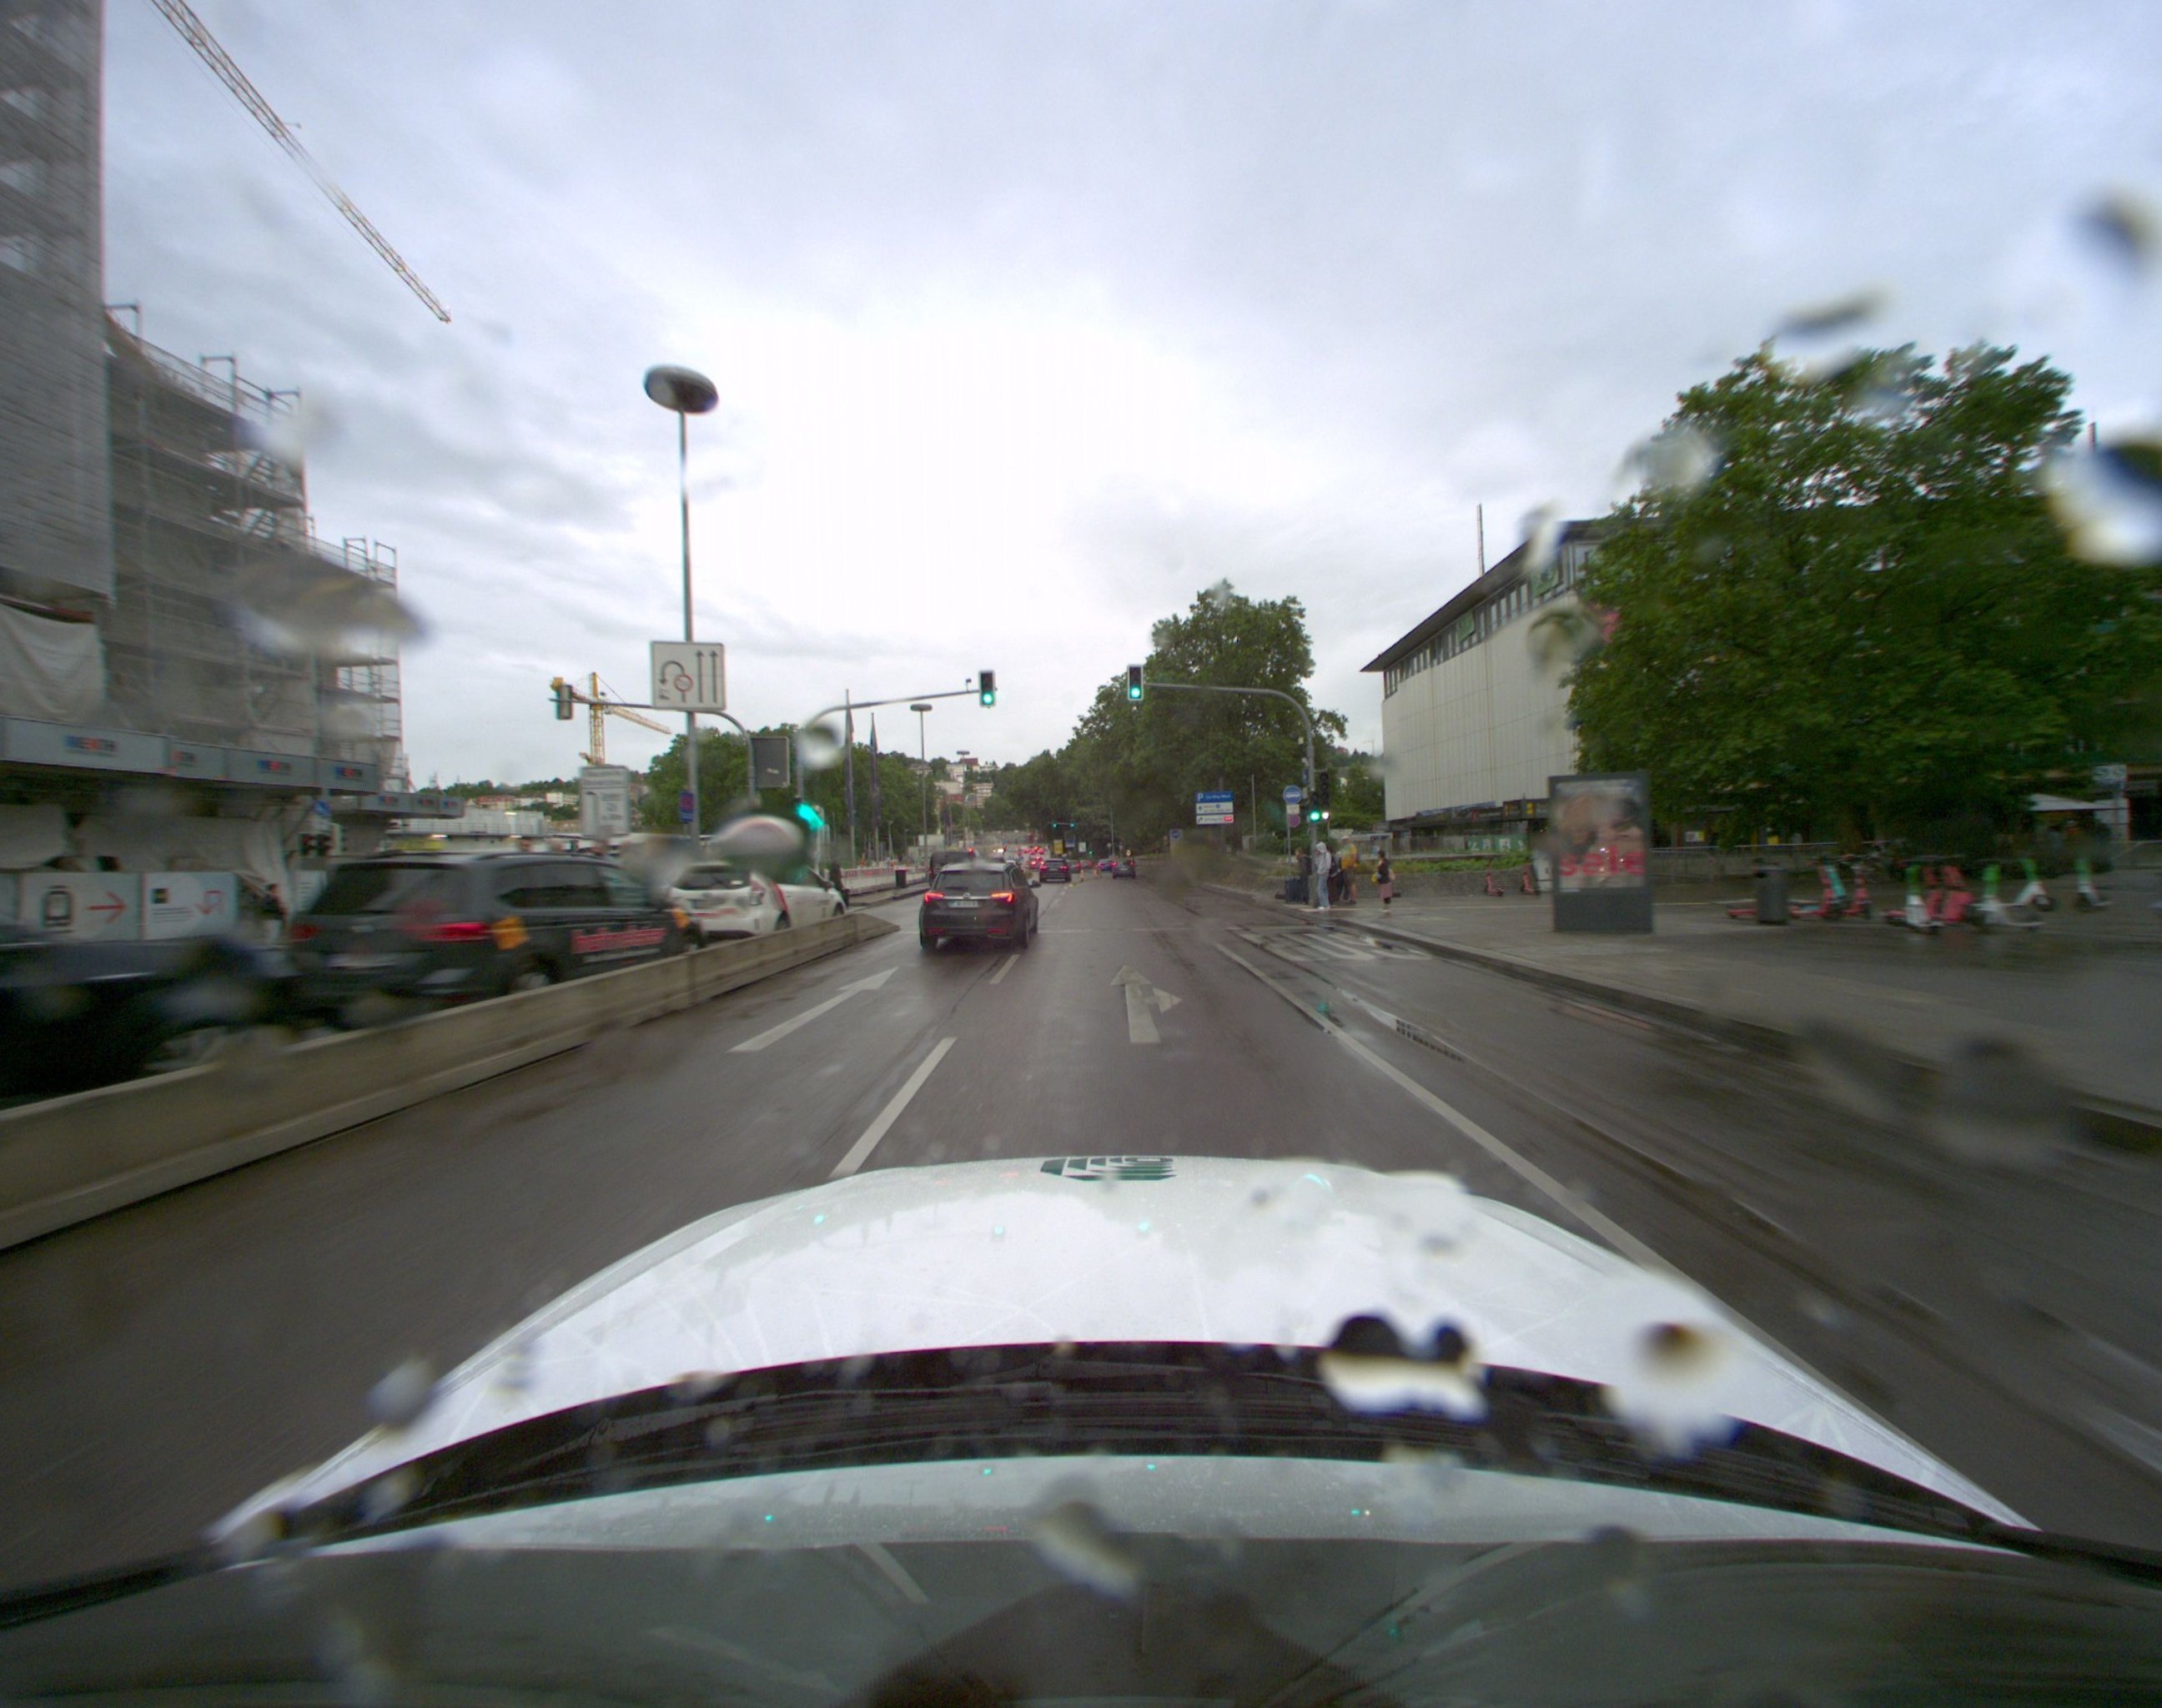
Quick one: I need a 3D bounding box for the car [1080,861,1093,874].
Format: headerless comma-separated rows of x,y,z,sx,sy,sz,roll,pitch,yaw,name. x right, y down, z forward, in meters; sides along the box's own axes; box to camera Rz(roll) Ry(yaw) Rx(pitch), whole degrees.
0.713,1.836,111.185,1.630,1.624,3.791,0,-1,-3,car

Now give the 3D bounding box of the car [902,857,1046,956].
-1.772,0.848,15.144,1.870,1.508,4.853,-1,-1,2,car

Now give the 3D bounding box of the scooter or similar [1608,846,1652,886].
18.610,0.415,27.627,0.409,1.332,1.311,0,-1,-10,scooter or similar

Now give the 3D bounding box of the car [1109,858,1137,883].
3.047,1.192,59.632,1.845,1.717,4.000,0,-1,0,car

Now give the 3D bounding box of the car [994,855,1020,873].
-6.651,0.900,73.662,1.988,1.530,4.149,-3,-1,-2,car

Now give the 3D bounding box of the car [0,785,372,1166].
-6.089,0.596,3.345,1.986,1.787,4.849,-2,-1,1,car

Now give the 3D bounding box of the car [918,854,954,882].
-10.861,1.070,61.423,1.989,2.014,5.364,0,-1,-3,car

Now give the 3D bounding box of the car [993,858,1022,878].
-6.109,1.168,68.173,1.988,1.567,4.872,-3,-1,-2,car

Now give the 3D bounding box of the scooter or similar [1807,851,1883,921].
14.550,0.591,15.542,0.367,1.281,1.174,-1,-1,3,scooter or similar

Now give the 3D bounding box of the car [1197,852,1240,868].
12.838,0.570,76.050,3.573,1.506,1.745,-1,-1,41,car

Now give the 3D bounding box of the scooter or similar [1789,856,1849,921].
14.057,0.647,15.533,0.304,1.207,0.958,-1,-1,3,scooter or similar

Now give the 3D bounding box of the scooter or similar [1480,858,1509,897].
13.160,0.730,25.928,0.350,1.217,1.158,0,-1,1,scooter or similar

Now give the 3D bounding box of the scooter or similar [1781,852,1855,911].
15.714,0.586,17.381,1.084,1.217,0.479,-1,-1,33,scooter or similar

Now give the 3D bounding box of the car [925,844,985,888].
-5.590,0.557,36.719,1.988,1.845,5.059,0,-1,-2,car

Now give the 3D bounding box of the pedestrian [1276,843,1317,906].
6.517,0.610,24.669,0.787,1.839,0.946,-2,-1,-12,pedestrian

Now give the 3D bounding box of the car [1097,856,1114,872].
2.576,1.064,85.005,1.668,1.581,3.241,-1,-1,2,car

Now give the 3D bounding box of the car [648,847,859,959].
-5.738,0.790,14.993,1.779,1.685,4.669,-2,-1,2,car

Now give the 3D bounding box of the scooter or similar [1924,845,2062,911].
18.463,0.483,16.536,0.622,1.260,1.737,0,-1,-25,scooter or similar

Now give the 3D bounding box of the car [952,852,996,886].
-5.681,0.813,43.802,1.818,1.696,4.770,0,-1,-1,car

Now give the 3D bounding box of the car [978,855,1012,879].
-5.507,0.834,52.663,1.819,1.511,4.487,0,-1,-2,car

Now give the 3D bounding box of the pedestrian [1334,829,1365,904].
7.895,0.357,23.945,0.554,2.146,0.665,-2,-1,-12,pedestrian

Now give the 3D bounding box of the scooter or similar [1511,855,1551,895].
14.336,0.667,25.969,0.372,1.259,1.311,0,-1,-10,scooter or similar

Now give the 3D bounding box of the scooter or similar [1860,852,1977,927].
14.356,0.598,13.993,0.572,1.231,1.353,1,-2,-43,scooter or similar

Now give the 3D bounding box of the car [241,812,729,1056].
-5.763,0.662,8.799,1.707,1.892,4.612,-2,-1,2,car

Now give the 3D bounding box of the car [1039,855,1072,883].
-1.579,0.924,51.174,1.824,1.686,4.134,-2,-1,1,car

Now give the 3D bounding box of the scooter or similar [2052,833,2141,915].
18.654,0.363,14.996,0.615,1.428,1.721,-1,-1,38,scooter or similar

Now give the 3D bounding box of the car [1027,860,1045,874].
-6.001,1.756,108.074,1.992,1.827,3.989,0,-1,-8,car

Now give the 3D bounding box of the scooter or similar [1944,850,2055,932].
14.665,0.575,13.016,1.304,1.256,0.590,-1,-1,-12,scooter or similar

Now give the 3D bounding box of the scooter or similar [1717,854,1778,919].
13.113,0.627,16.053,0.323,1.237,1.100,-1,-1,3,scooter or similar

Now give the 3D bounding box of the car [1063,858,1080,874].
-1.104,1.398,94.111,1.897,1.717,4.000,0,-1,0,car

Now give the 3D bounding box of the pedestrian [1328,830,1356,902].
8.009,0.360,24.987,0.703,2.146,0.724,-2,-1,15,pedestrian

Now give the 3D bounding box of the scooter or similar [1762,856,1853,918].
15.129,0.674,16.997,1.348,1.250,0.441,-1,-1,33,scooter or similar

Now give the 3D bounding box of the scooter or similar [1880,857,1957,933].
13.159,0.620,12.830,0.433,1.130,1.374,1,0,28,scooter or similar

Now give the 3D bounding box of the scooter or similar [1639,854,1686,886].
19.912,0.544,27.890,0.476,1.035,1.311,-2,-1,-10,scooter or similar
